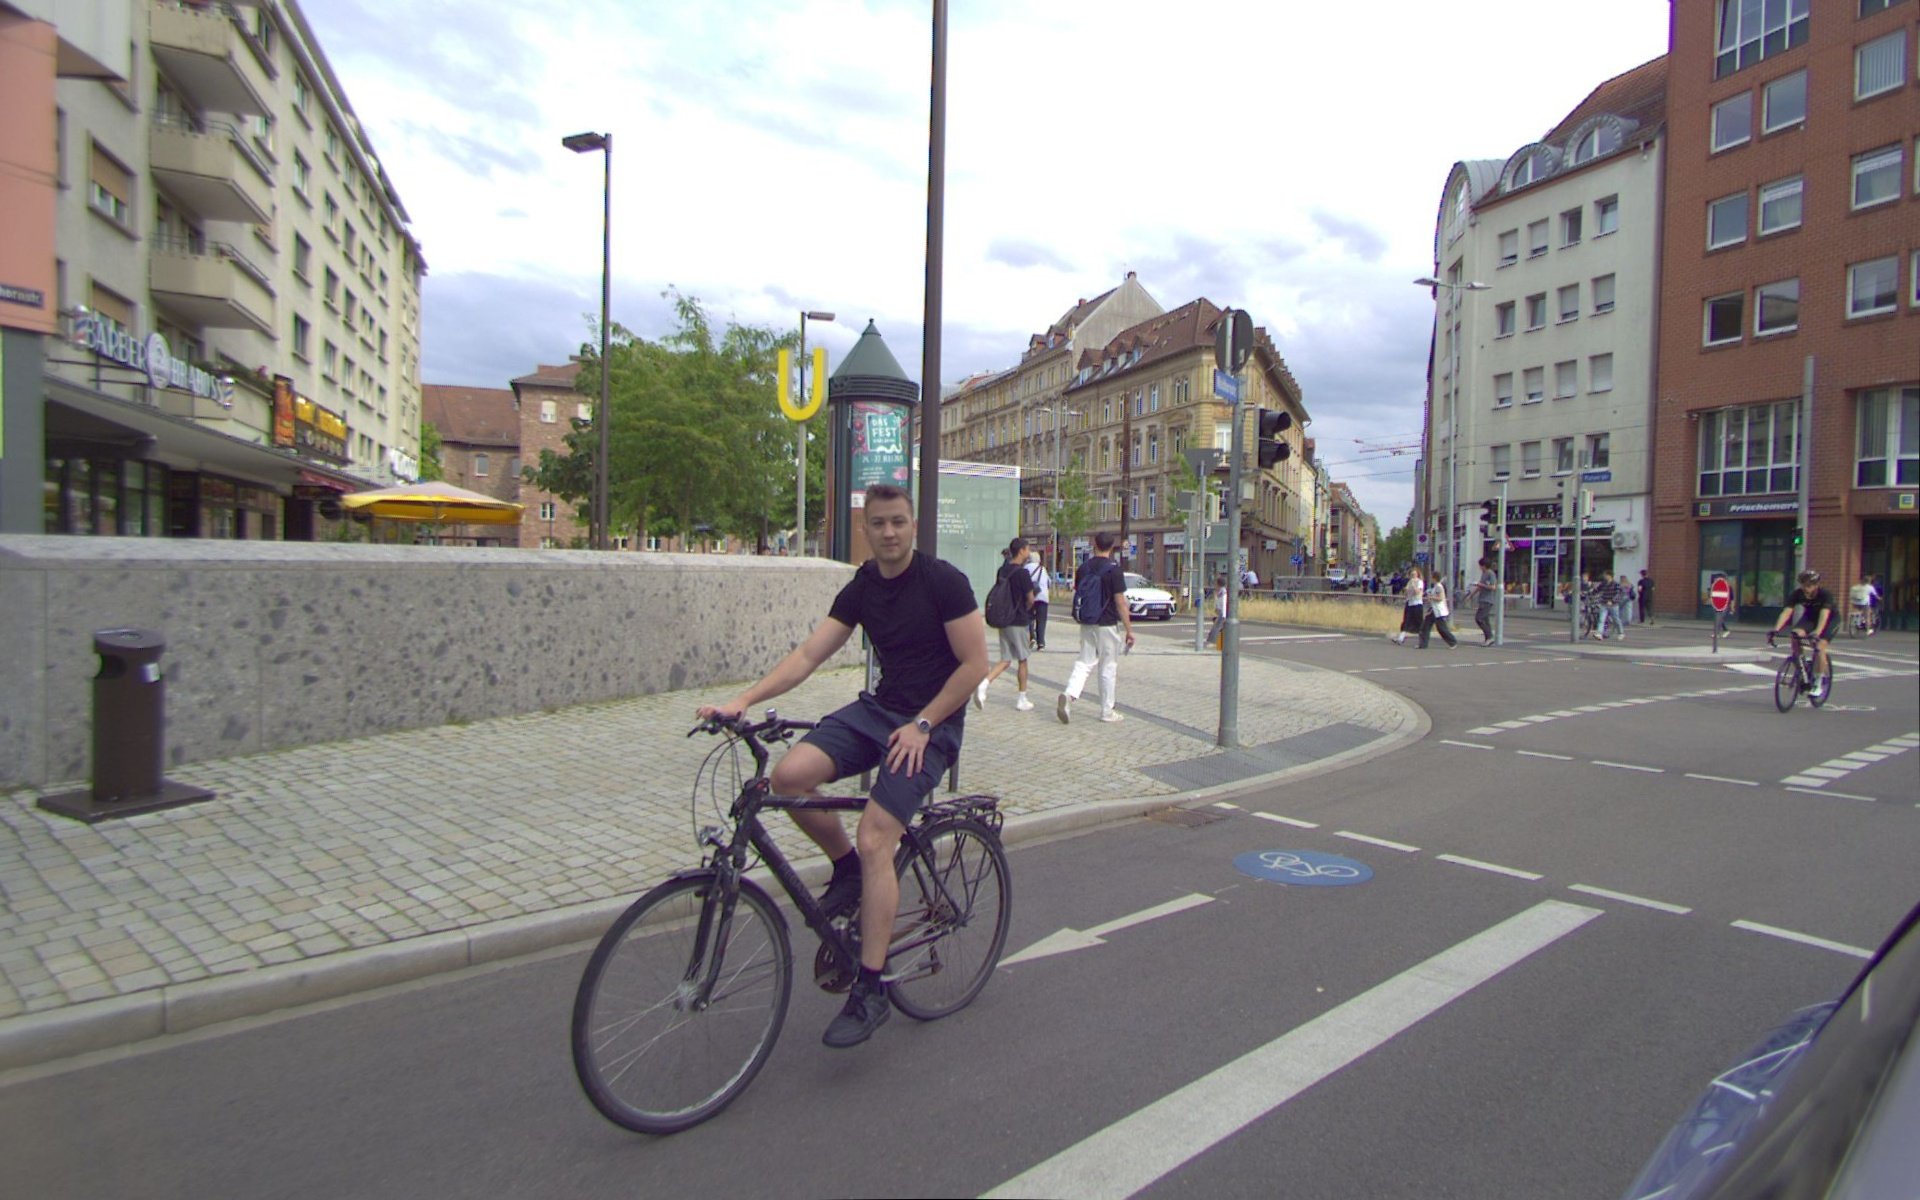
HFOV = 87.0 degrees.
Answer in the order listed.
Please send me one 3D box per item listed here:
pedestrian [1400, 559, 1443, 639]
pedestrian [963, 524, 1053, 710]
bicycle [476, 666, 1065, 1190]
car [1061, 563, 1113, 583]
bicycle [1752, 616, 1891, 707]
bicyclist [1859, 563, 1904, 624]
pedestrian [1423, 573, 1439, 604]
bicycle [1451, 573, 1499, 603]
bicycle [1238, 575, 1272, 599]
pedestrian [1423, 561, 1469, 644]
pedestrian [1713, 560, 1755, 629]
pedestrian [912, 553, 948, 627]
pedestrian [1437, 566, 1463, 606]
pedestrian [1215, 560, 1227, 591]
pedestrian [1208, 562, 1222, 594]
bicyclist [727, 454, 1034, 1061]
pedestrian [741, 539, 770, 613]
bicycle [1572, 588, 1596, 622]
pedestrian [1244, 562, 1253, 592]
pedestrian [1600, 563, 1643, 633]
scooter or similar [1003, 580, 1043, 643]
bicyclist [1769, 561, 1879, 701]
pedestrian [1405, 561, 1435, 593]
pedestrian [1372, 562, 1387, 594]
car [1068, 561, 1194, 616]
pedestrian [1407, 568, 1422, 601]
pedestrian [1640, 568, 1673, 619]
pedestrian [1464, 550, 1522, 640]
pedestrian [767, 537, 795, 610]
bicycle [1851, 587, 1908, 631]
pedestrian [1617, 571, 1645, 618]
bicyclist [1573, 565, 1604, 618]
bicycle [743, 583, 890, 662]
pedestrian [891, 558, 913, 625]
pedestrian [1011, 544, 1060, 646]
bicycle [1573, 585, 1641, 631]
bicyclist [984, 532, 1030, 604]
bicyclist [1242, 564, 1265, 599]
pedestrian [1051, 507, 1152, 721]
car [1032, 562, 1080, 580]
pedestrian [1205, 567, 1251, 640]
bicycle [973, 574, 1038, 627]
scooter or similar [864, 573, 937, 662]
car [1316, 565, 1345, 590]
[{"bbox_3d":[10.152,-0.041,22.280,0.695,1.716,0.633,1,1,12],"label":"pedestrian"},{"bbox_3d":[0.515,0.154,10.579,0.667,1.821,0.882,4,2,16],"label":"pedestrian"},{"bbox_3d":[-0.466,0.860,3.306,1.983,1.136,0.406,-1,2,-43],"label":"bicycle"},{"bbox_3d":[8.630,-1.833,69.164,1.799,1.282,4.164,0,3,-21],"label":"car"},{"bbox_3d":[10.436,0.721,12.254,1.711,1.013,0.490,0,2,-21],"label":"bicycle"},{"bbox_3d":[26.751,-0.191,29.387,0.845,1.730,0.644,0,2,-25],"label":"bicyclist"},{"bbox_3d":[25.452,-0.620,54.672,0.572,1.656,0.545,0,2,0],"label":"pedestrian"},{"bbox_3d":[21.941,-0.530,43.146,0.532,1.219,1.810,0,2,-30],"label":"bicycle"},{"bbox_3d":[14.231,-0.651,48.885,0.383,1.100,1.923,0,2,-27],"label":"bicycle"},{"bbox_3d":[10.247,0.044,21.334,0.780,1.706,0.471,0,2,-25],"label":"pedestrian"},{"bbox_3d":[20.935,-0.163,27.391,0.681,1.846,0.570,1,2,-21],"label":"pedestrian"},{"bbox_3d":[-0.712,-0.242,23.890,0.613,1.701,0.808,-1,0,-21],"label":"pedestrian"},{"bbox_3d":[20.955,-0.606,43.293,0.704,1.647,0.793,1,2,1],"label":"pedestrian"},{"bbox_3d":[14.614,-1.359,56.658,0.504,1.705,0.425,0,2,-19],"label":"pedestrian"},{"bbox_3d":[14.031,-1.202,55.690,0.594,1.705,0.733,-3,2,3],"label":"pedestrian"},{"bbox_3d":[-0.257,0.435,3.364,0.848,1.730,0.559,-1,2,-42],"label":"bicyclist"},{"bbox_3d":[-5.309,-0.620,26.238,0.572,1.890,0.550,1,1,-25],"label":"pedestrian"},{"bbox_3d":[19.054,0.129,30.905,0.538,0.962,1.788,2,2,30],"label":"bicycle"},{"bbox_3d":[16.358,-1.313,57.397,0.418,1.705,0.513,1,2,13],"label":"pedestrian"},{"bbox_3d":[16.259,-0.063,24.871,0.710,1.706,0.522,0,2,-20],"label":"pedestrian"},{"bbox_3d":[1.171,0.201,19.035,0.596,1.124,0.703,1,3,-8],"label":"scooter or similar"},{"bbox_3d":[10.450,0.345,12.250,0.829,1.622,0.615,0,3,-21],"label":"bicyclist"},{"bbox_3d":[27.600,-1.390,60.703,1.109,1.851,1.166,-1,2,-29],"label":"pedestrian"},{"bbox_3d":[22.895,-1.188,55.217,0.580,1.743,0.520,0,2,0],"label":"pedestrian"},{"bbox_3d":[5.343,-0.426,32.222,1.958,1.530,4.615,-2,3,-19],"label":"car"},{"bbox_3d":[24.572,-0.842,54.677,0.531,1.743,0.520,0,2,2],"label":"pedestrian"},{"bbox_3d":[23.161,-0.239,33.661,0.697,1.668,0.717,1,1,17],"label":"pedestrian"},{"bbox_3d":[11.304,-0.109,21.469,0.858,1.877,0.642,0,2,-20],"label":"pedestrian"},{"bbox_3d":[-4.727,-0.695,26.764,0.572,1.890,0.491,1,1,-25],"label":"pedestrian"},{"bbox_3d":[26.770,0.246,29.454,2.034,1.135,0.392,-3,4,-23],"label":"bicycle"},{"bbox_3d":[22.507,-0.187,33.942,0.585,1.530,0.626,1,1,17],"label":"pedestrian"},{"bbox_3d":[19.136,-0.278,30.823,0.740,1.578,0.936,2,2,31],"label":"bicyclist"},{"bbox_3d":[-2.267,0.320,15.747,2.428,1.026,0.539,4,3,30],"label":"bicycle"},{"bbox_3d":[-1.544,-0.235,26.738,0.406,1.758,0.596,0,2,-20],"label":"pedestrian"},{"bbox_3d":[1.350,-0.108,18.206,0.671,1.761,0.939,1,2,-7],"label":"pedestrian"},{"bbox_3d":[16.207,0.188,25.354,1.792,1.124,0.399,0,2,-20],"label":"bicycle"},{"bbox_3d":[1.149,-0.780,24.818,0.687,1.730,0.907,-1,2,-38],"label":"bicyclist"},{"bbox_3d":[14.136,-0.898,48.765,0.629,1.623,0.864,0,2,-28],"label":"bicyclist"},{"bbox_3d":[1.436,0.109,10.153,0.712,1.995,1.008,4,2,19],"label":"pedestrian"},{"bbox_3d":[7.027,-2.152,74.458,1.799,1.282,4.164,0,3,-21],"label":"car"},{"bbox_3d":[5.746,0.058,21.705,0.832,1.519,0.553,-3,3,-36],"label":"pedestrian"},{"bbox_3d":[1.100,-0.013,24.872,0.384,1.135,1.919,-1,5,-39],"label":"bicycle"},{"bbox_3d":[-0.836,0.229,14.406,1.107,1.227,0.286,-2,2,-44],"label":"scooter or similar"},{"bbox_3d":[25.125,-1.539,68.539,1.677,1.606,3.633,1,2,23],"label":"car"}]
